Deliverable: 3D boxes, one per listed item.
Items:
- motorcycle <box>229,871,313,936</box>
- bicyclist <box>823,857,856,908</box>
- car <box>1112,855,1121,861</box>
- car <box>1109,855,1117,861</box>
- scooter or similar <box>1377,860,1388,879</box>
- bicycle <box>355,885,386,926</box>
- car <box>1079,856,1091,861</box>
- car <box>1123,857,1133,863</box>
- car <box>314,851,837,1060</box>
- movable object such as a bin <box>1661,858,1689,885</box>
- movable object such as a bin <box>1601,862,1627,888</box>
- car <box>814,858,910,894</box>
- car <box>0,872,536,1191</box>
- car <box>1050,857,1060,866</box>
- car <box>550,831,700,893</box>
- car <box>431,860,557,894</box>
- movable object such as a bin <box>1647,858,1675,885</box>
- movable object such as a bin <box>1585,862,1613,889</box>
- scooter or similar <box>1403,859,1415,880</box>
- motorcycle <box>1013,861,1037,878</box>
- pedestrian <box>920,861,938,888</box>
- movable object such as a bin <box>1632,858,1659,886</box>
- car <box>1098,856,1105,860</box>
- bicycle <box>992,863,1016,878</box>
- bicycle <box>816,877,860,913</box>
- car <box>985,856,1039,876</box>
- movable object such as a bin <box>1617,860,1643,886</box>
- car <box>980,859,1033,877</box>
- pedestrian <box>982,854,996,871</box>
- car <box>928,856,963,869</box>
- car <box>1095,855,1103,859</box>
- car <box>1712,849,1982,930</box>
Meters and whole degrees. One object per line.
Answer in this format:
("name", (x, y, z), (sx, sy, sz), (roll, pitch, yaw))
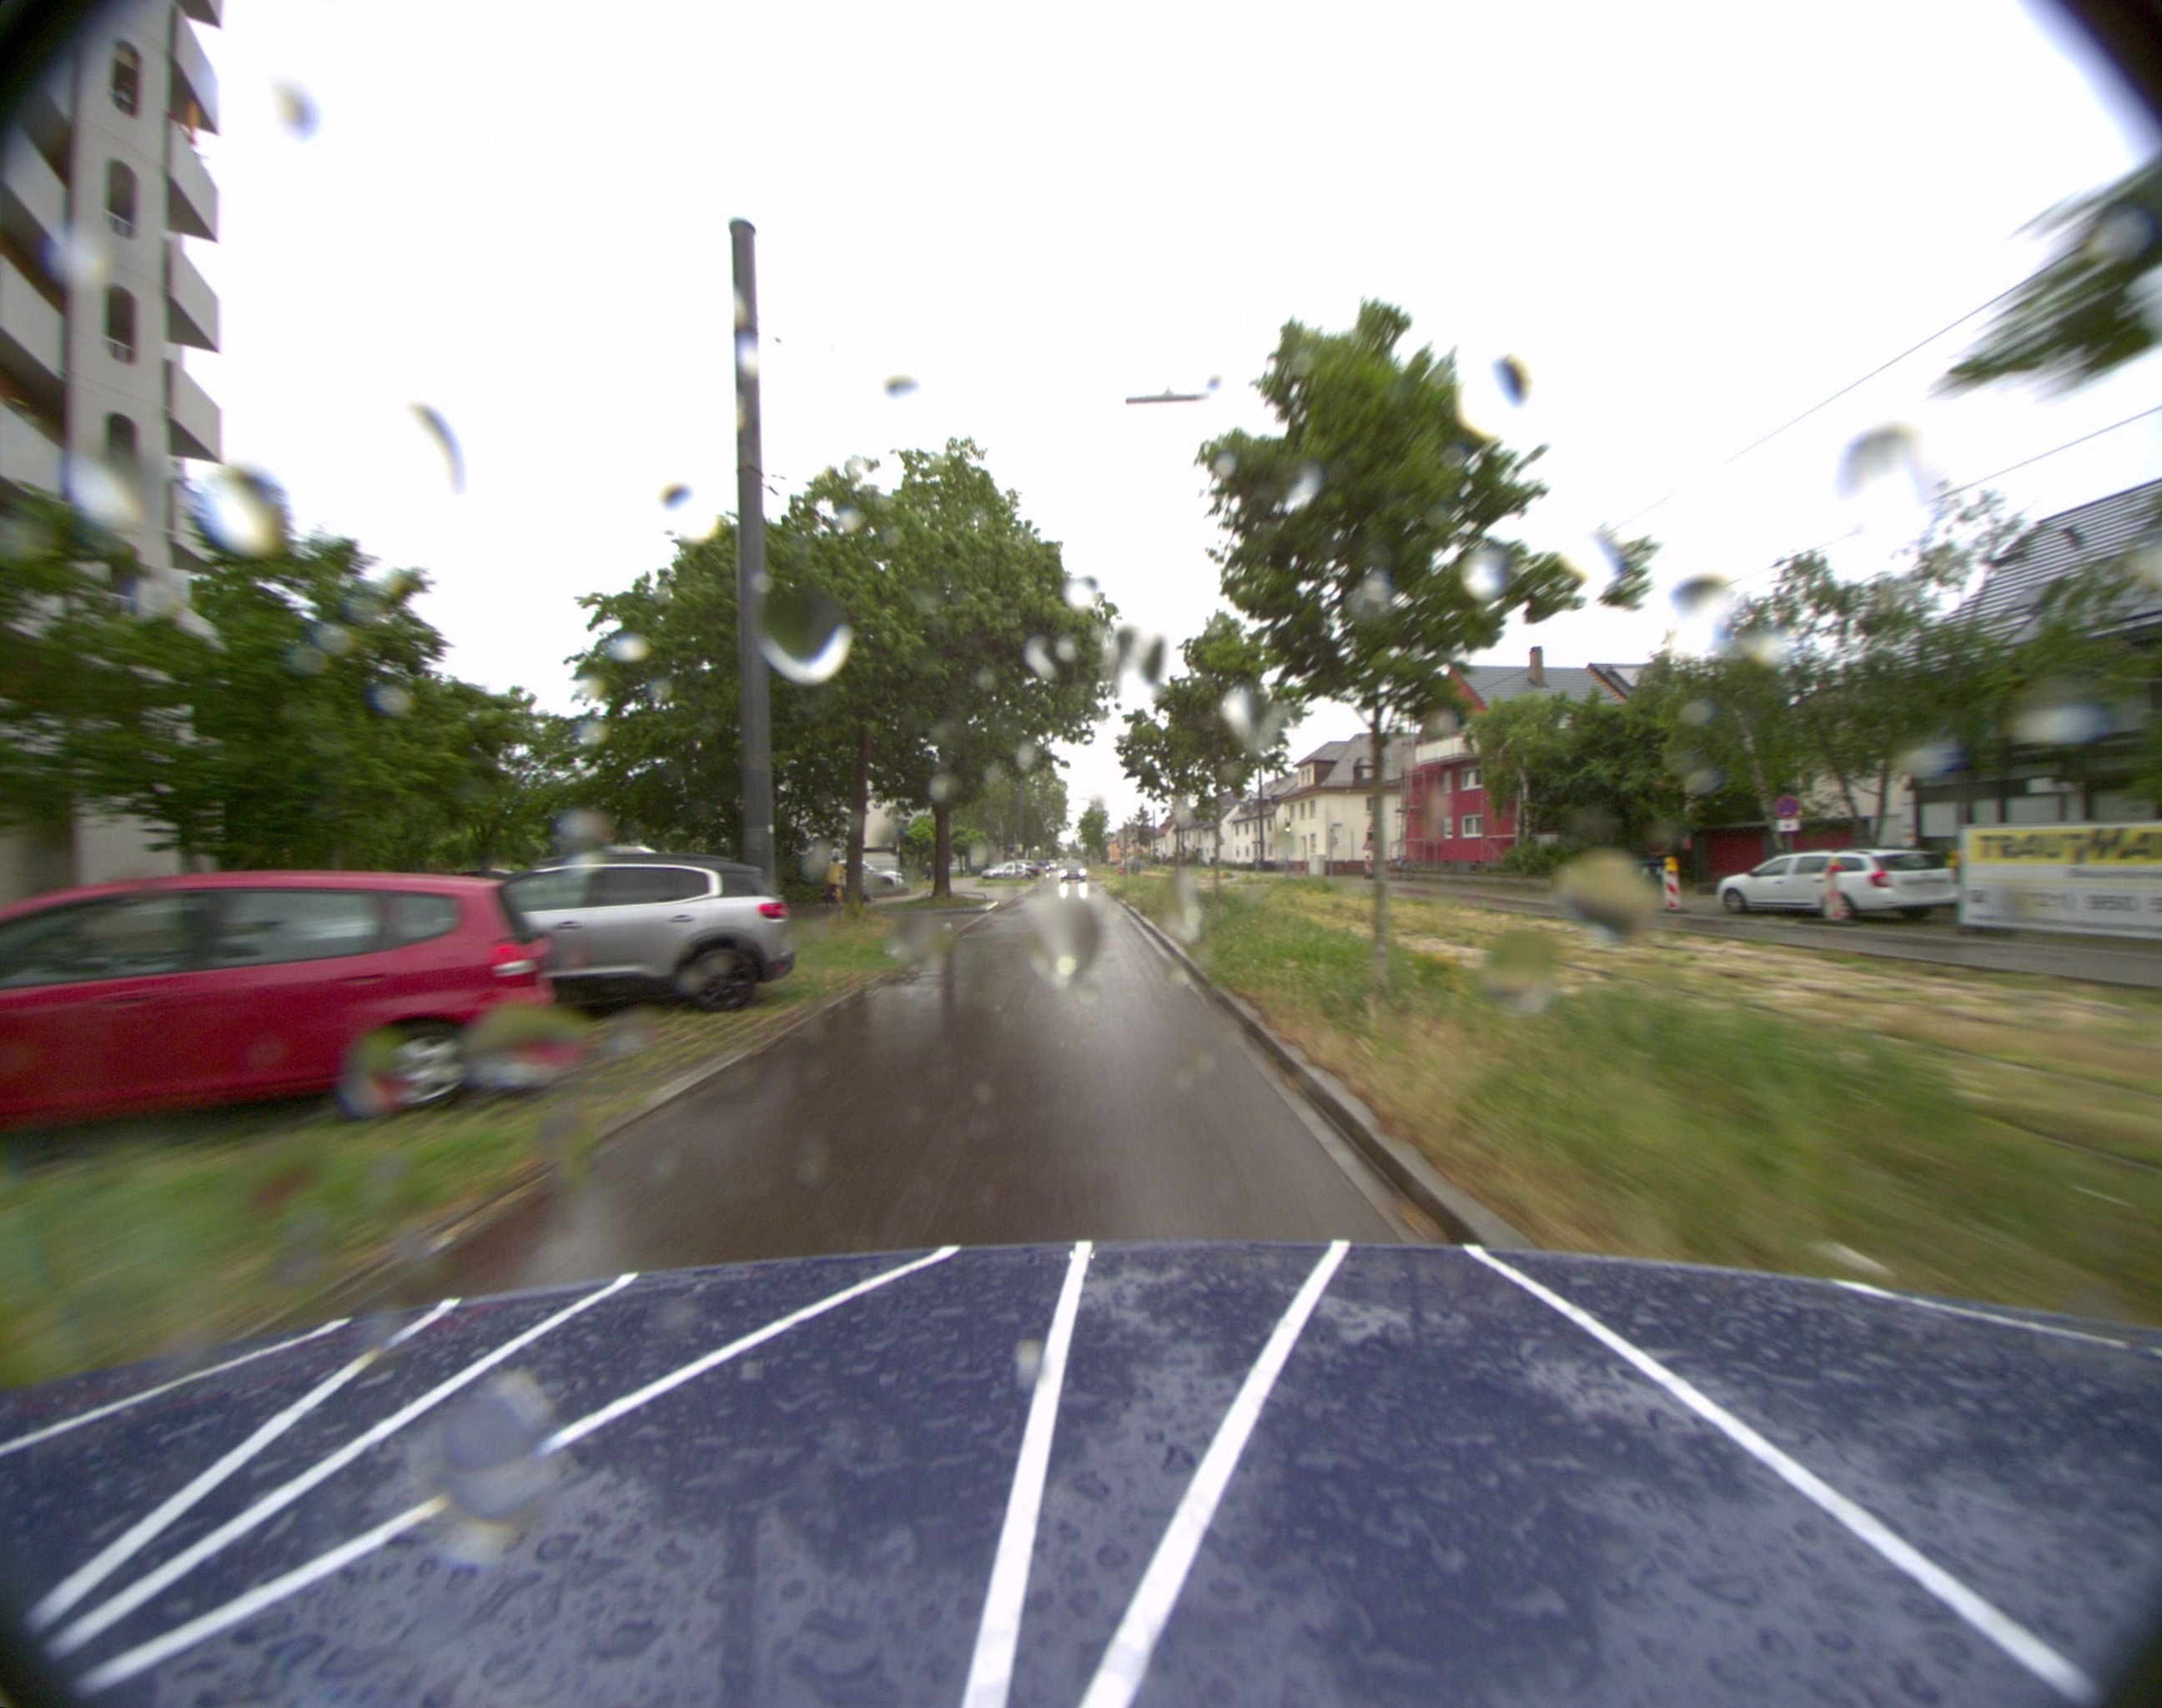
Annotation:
("motorcycle", (-17.755, 1.037, 16.719), (0.887, 1.281, 2.296), (-1, 0, -37))
("bicyclist", (-7.758, 0.906, 24.417), (0.736, 1.584, 0.944), (0, 0, 0))
("car", (9.069, 1.059, 196.167), (1.912, 1.581, 3.999), (0, 0, -3))
("car", (8.419, 1.120, 200.719), (1.882, 1.520, 3.999), (-1, 0, -3))
("scooter or similar", (18.513, 0.929, 46.633), (0.440, 1.123, 1.285), (0, 0, 29))
("bicycle", (-17.460, 1.245, 18.694), (0.409, 0.920, 1.461), (-1, 0, -37))
("car", (1.474, 1.634, 260.066), (3.999, 1.637, 1.893), (0, 0, -6))
("car", (10.454, 1.282, 168.399), (1.715, 1.432, 3.998), (0, 0, -4))
("car", (-5.010, 0.904, 8.168), (4.156, 1.709, 1.995), (2, -1, -32))
("movable object such as a bin", (24.515, 0.716, 31.369), (0.561, 1.132, 0.758), (0, 0, 0))
("movable object such as a bin", (21.969, 0.855, 31.313), (0.561, 1.075, 0.758), (0, 0, 0))
("car", (-11.671, 1.149, 40.695), (4.821, 1.735, 1.997), (-1, 0, -15))
("car", (-5.728, 0.911, 4.610), (3.894, 1.557, 1.728), (2, -1, -36))
("car", (-4.281, 1.188, 123.948), (1.563, 1.510, 3.999), (0, 0, -4))
("car", (-22.864, 0.368, 38.365), (6.079, 2.946, 2.127), (-1, 0, -15))
("car", (-28.236, 1.078, 36.700), (4.419, 1.517, 1.905), (-1, 0, -13))
("movable object such as a bin", (23.930, 0.714, 31.362), (0.561, 1.132, 0.758), (0, 0, 0))
("movable object such as a bin", (21.335, 0.862, 31.305), (0.645, 1.085, 0.757), (-1, 0, 0))
("scooter or similar", (18.866, 0.877, 43.711), (0.394, 1.173, 1.284), (-1, 0, 14))
("motorcycle", (-4.486, 1.207, 60.981), (1.783, 1.328, 0.687), (0, 0, -37))
("pedestrian", (-9.195, 1.229, 45.930), (0.841, 1.561, 0.812), (-1, 1, -28))
("movable object such as a bin", (23.278, 0.747, 31.345), (0.561, 1.132, 0.758), (0, 0, 0))
("car", (6.245, 1.262, 234.690), (1.886, 1.423, 4.076), (0, 0, -4))
("bicycle", (-6.077, 1.297, 59.790), (0.627, 1.095, 1.961), (0, 0, 43))
("bicycle", (-7.755, 1.295, 24.360), (0.736, 1.050, 2.051), (0, 0, 0))
("car", (-6.056, 1.034, 66.602), (4.358, 1.641, 1.853), (0, 0, -34))
("movable object such as a bin", (22.614, 0.785, 31.310), (0.561, 1.075, 0.758), (0, 0, 0))
("car", (-6.173, 1.169, 63.104), (4.133, 1.414, 1.734), (0, 0, -37))
("pedestrian", (-9.657, 0.866, 79.490), (1.101, 1.803, 1.434), (-1, 0, 9))
("car", (-18.019, 1.176, 101.134), (4.304, 1.671, 1.871), (0, 1, 0))
("car", (5.767, 0.982, 242.577), (2.097, 1.423, 4.076), (0, 0, -4))
("car", (17.090, 0.715, 17.343), (1.714, 1.533, 4.422), (-3, 0, 1))
